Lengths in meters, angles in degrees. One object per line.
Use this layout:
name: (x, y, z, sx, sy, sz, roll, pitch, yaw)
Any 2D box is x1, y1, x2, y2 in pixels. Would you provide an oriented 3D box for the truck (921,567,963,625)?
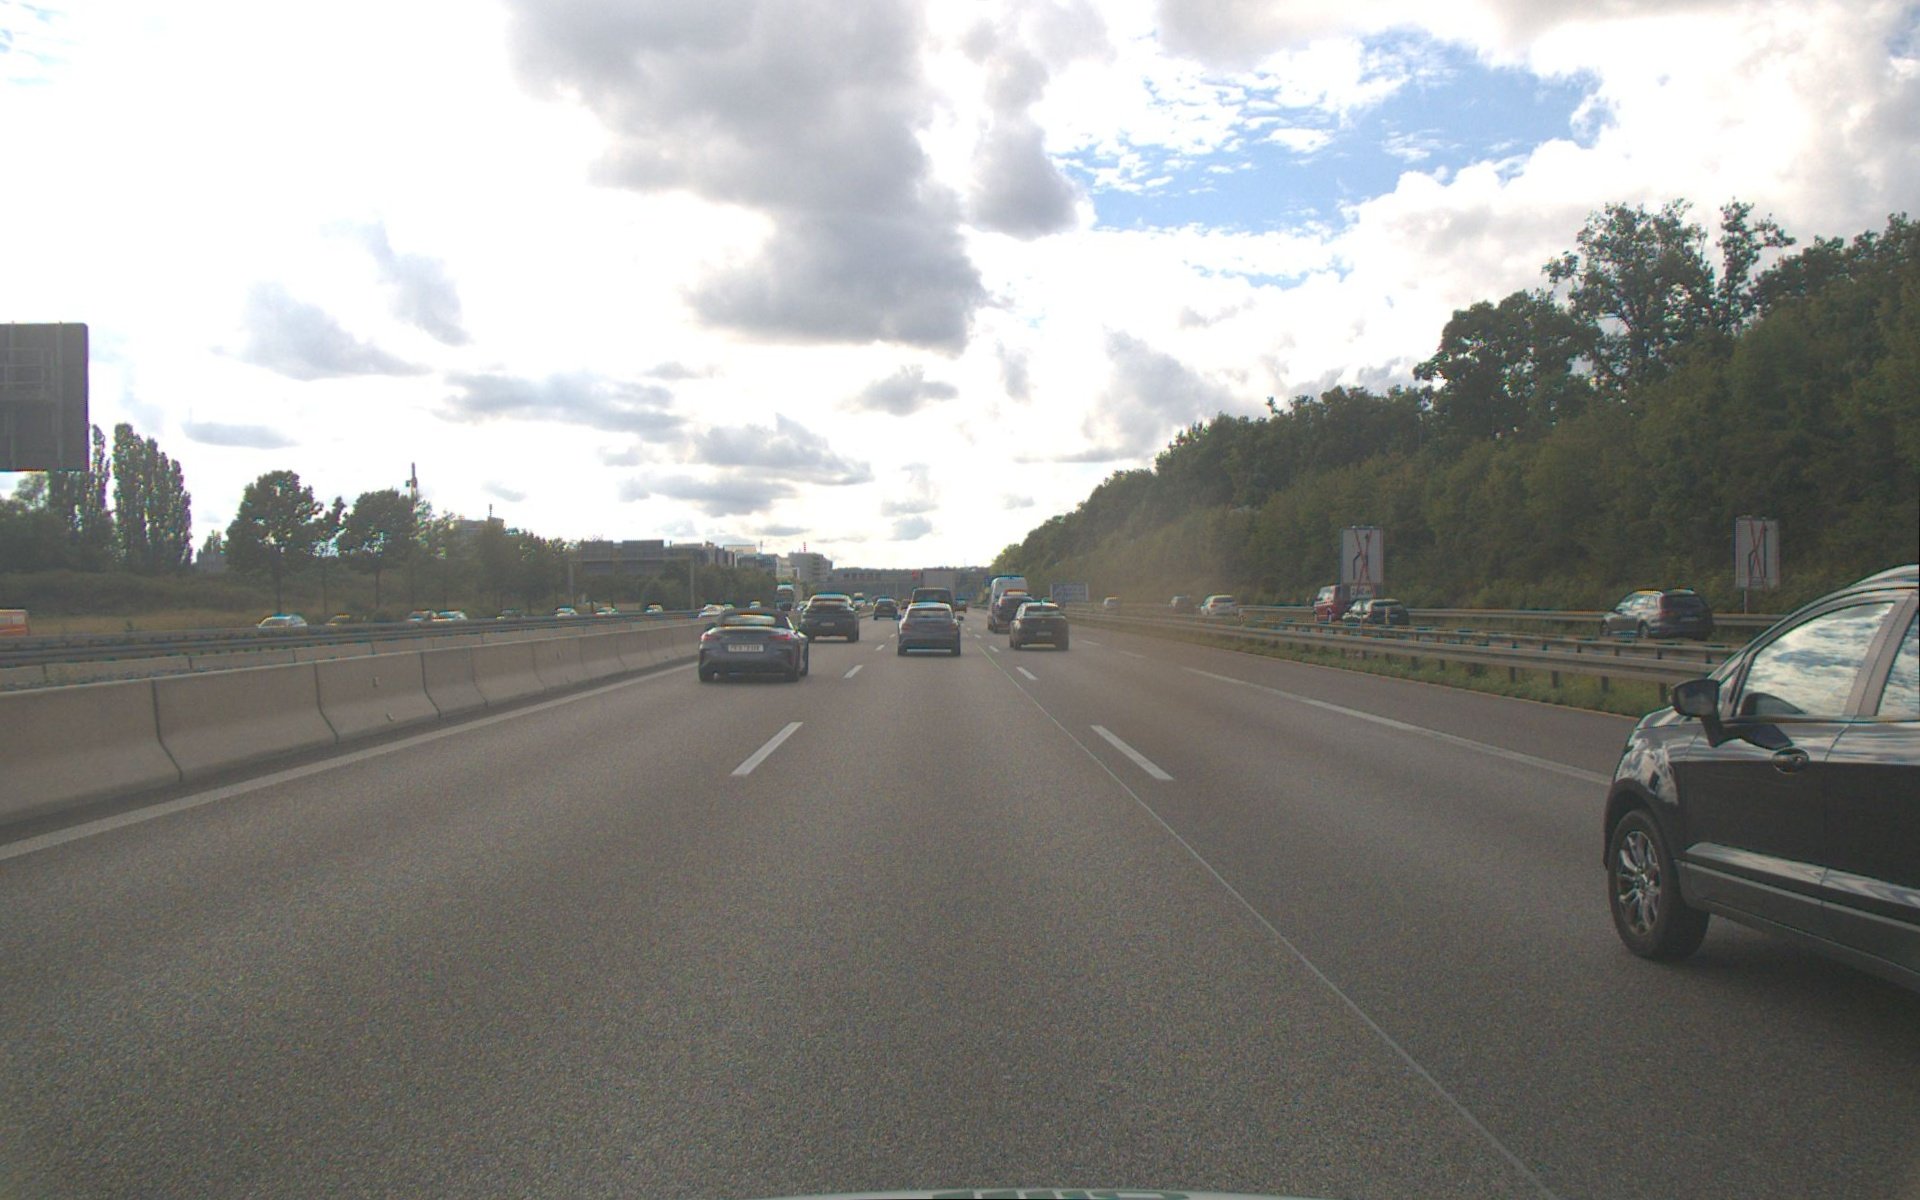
truck: (-1.461, -0.331, 134.110, 3.197, 4.451, 11.023, 1, 0, -1)

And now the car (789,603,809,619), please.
car: (-16.279, 1.142, 167.288, 1.633, 1.583, 3.999, 0, 0, -1)

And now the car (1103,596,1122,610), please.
car: (17.339, 0.333, 188.259, 1.717, 1.543, 4.188, 0, 0, -2)

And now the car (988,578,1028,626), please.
car: (2.456, 0.093, 84.811, 1.835, 2.399, 4.281, 0, 0, -1)

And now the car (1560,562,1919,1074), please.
car: (3.792, 0.675, 5.974, 1.663, 1.592, 4.112, 0, 0, -2)

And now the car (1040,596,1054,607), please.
car: (12.502, 0.240, 238.565, 1.694, 1.560, 4.451, -1, 0, -1)

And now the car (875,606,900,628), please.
car: (-5.671, 1.309, 130.210, 1.835, 1.728, 4.071, 0, 0, -1)

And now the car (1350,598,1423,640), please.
car: (16.292, 0.702, 63.300, 1.563, 1.573, 4.188, 0, 0, -2)

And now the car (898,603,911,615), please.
car: (-8.452, 1.355, 250.999, 1.953, 1.847, 4.565, 0, 0, -1)

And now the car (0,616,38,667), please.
car: (-34.003, 1.431, 56.756, 1.953, 1.730, 5.134, 0, 0, -2)

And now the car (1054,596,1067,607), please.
car: (15.566, 0.235, 256.746, 1.717, 1.543, 4.188, 0, 0, -2)

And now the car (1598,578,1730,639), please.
car: (19.723, 0.209, 46.519, 1.694, 1.573, 4.304, -2, 0, -2)

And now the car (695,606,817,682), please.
car: (-3.842, 0.794, 31.947, 1.835, 1.325, 4.941, 0, 0, -1)

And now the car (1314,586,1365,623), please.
car: (19.136, 0.218, 83.483, 1.563, 1.835, 3.823, 0, 0, -2)

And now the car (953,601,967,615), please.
car: (-0.059, 1.026, 212.474, 1.716, 1.725, 4.189, 0, 0, -1)

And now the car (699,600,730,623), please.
car: (-17.944, 0.835, 120.932, 1.743, 1.674, 4.071, 0, 0, -1)

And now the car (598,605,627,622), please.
car: (-35.121, 1.361, 167.196, 1.953, 1.730, 5.134, 0, 0, -2)

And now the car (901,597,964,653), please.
car: (-0.789, 0.669, 46.636, 1.686, 1.505, 4.390, 0, 0, -1)

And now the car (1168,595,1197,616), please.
car: (18.094, 0.462, 134.807, 1.716, 1.725, 4.189, 0, 0, -1)

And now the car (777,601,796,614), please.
car: (-23.781, 1.029, 226.670, 2.260, 1.808, 5.061, 0, 0, -3)

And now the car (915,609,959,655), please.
car: (-0.941, 1.258, 66.361, 1.686, 1.754, 4.390, 0, 0, -1)

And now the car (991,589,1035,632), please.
car: (2.449, 0.475, 77.761, 1.874, 1.952, 4.029, 0, 0, -1)

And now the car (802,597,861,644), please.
car: (-4.680, 0.720, 60.917, 1.873, 1.664, 5.499, 0, 0, -1)

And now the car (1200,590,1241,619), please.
car: (15.773, 0.270, 100.321, 1.716, 1.725, 4.189, 0, 0, -1)

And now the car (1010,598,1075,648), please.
car: (2.584, 0.703, 52.764, 1.795, 1.547, 4.224, 0, 0, -1)
